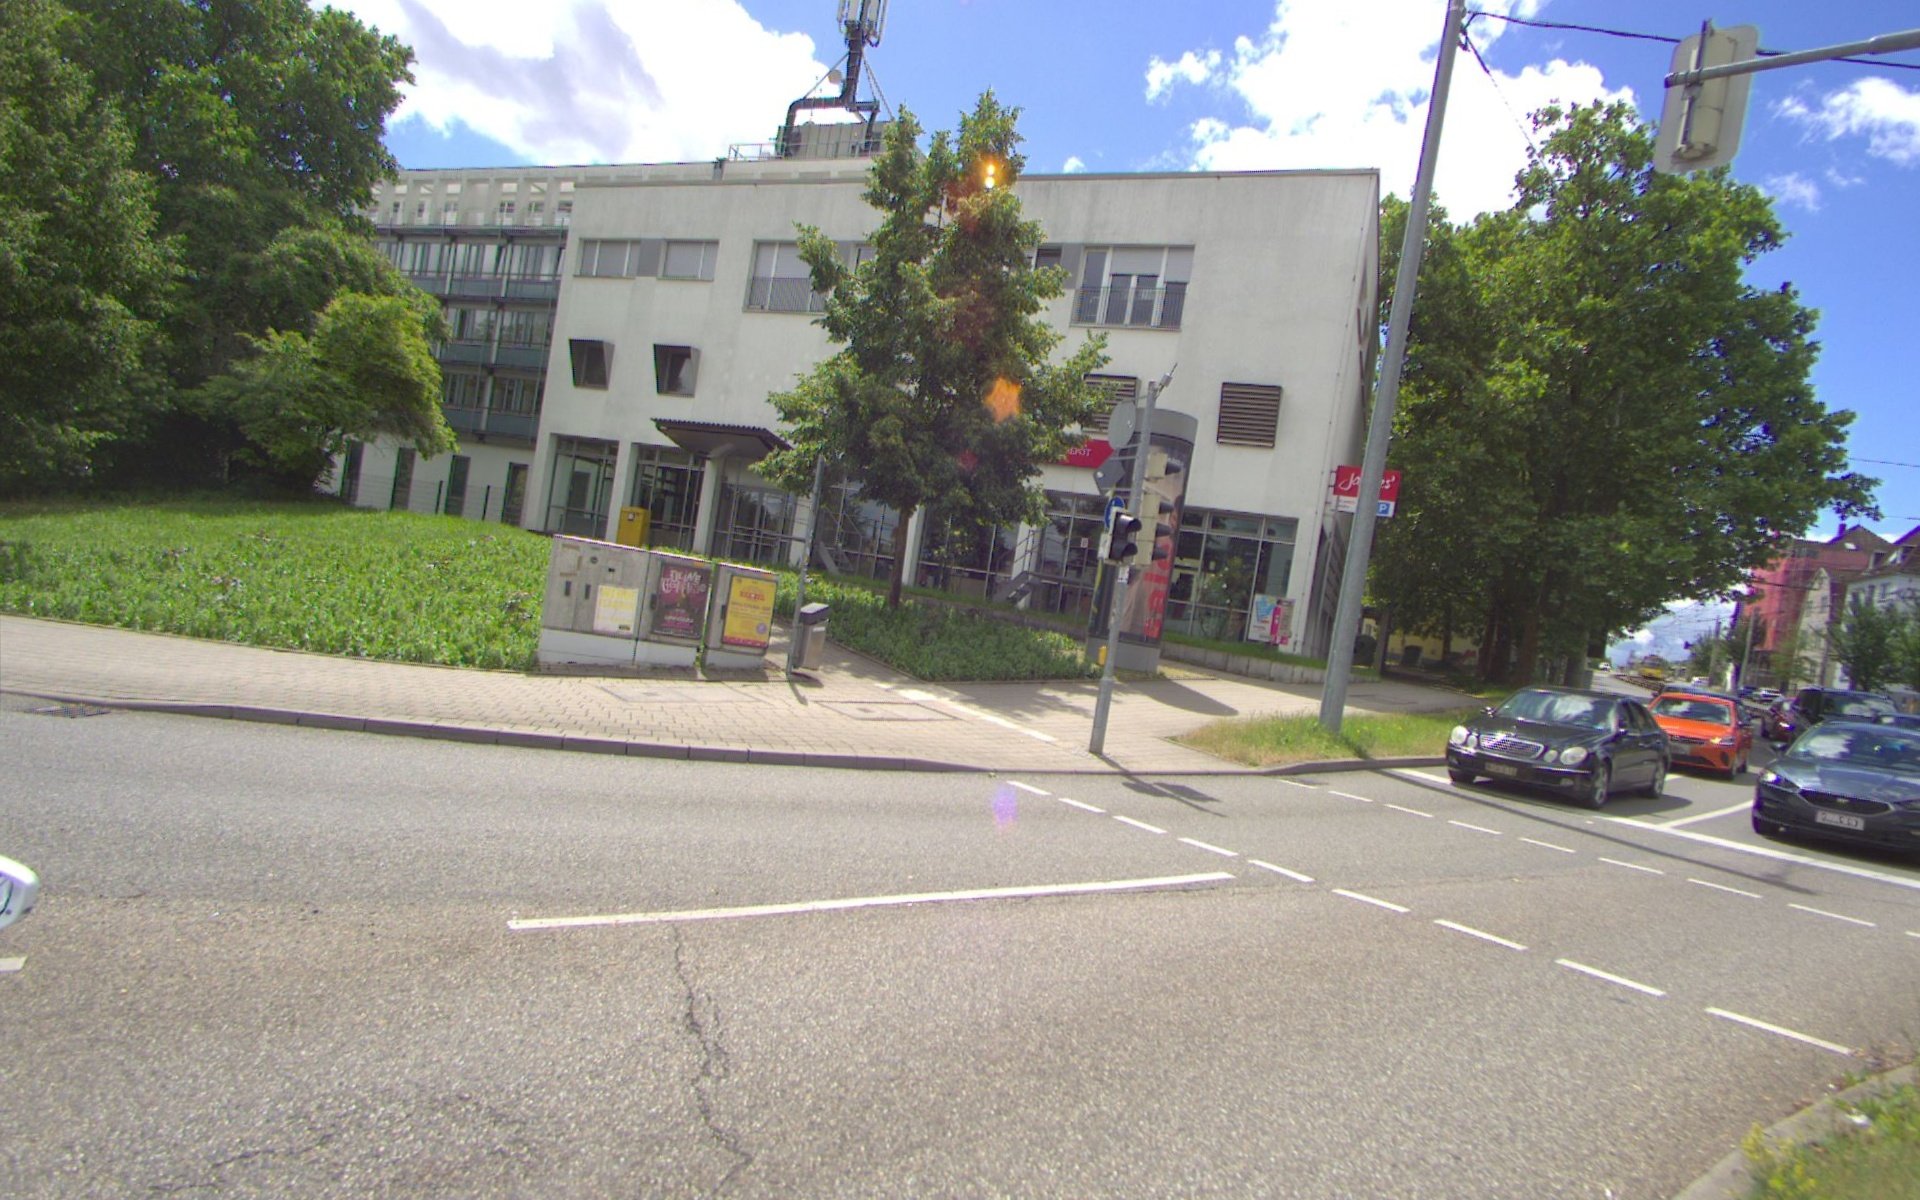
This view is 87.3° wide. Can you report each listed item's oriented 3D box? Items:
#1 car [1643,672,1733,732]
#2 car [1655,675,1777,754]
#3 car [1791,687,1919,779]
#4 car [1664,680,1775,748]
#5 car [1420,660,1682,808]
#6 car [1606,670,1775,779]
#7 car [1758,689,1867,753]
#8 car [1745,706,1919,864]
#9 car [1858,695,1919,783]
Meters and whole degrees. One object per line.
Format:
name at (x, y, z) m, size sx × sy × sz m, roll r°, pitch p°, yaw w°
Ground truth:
car at (24.921, 3.456, 34.580) m, size 1.966 × 1.638 × 3.993 m, roll 7°, pitch 0°, yaw 31°
car at (18.446, 2.791, 24.482) m, size 1.877 × 1.481 × 3.980 m, roll 8°, pitch 0°, yaw 43°
car at (23.051, 3.354, 25.936) m, size 1.822 × 1.904 × 4.139 m, roll 8°, pitch 0°, yaw 33°
car at (22.422, 3.301, 29.847) m, size 1.966 × 1.603 × 3.993 m, roll 7°, pitch 0°, yaw 30°
car at (8.314, 1.827, 13.977) m, size 2.027 × 1.482 × 4.300 m, roll 7°, pitch -1°, yaw 45°
car at (14.488, 2.483, 19.867) m, size 1.974 × 1.661 × 3.980 m, roll 8°, pitch -1°, yaw 45°
car at (26.915, 3.785, 31.912) m, size 1.983 × 1.573 × 3.991 m, roll 8°, pitch 0°, yaw 33°
car at (11.244, 2.144, 12.269) m, size 4.060 × 1.456 × 1.721 m, roll 5°, pitch 0°, yaw -40°
car at (20.468, 2.997, 21.148) m, size 1.898 × 1.659 × 3.986 m, roll 8°, pitch 0°, yaw 38°
